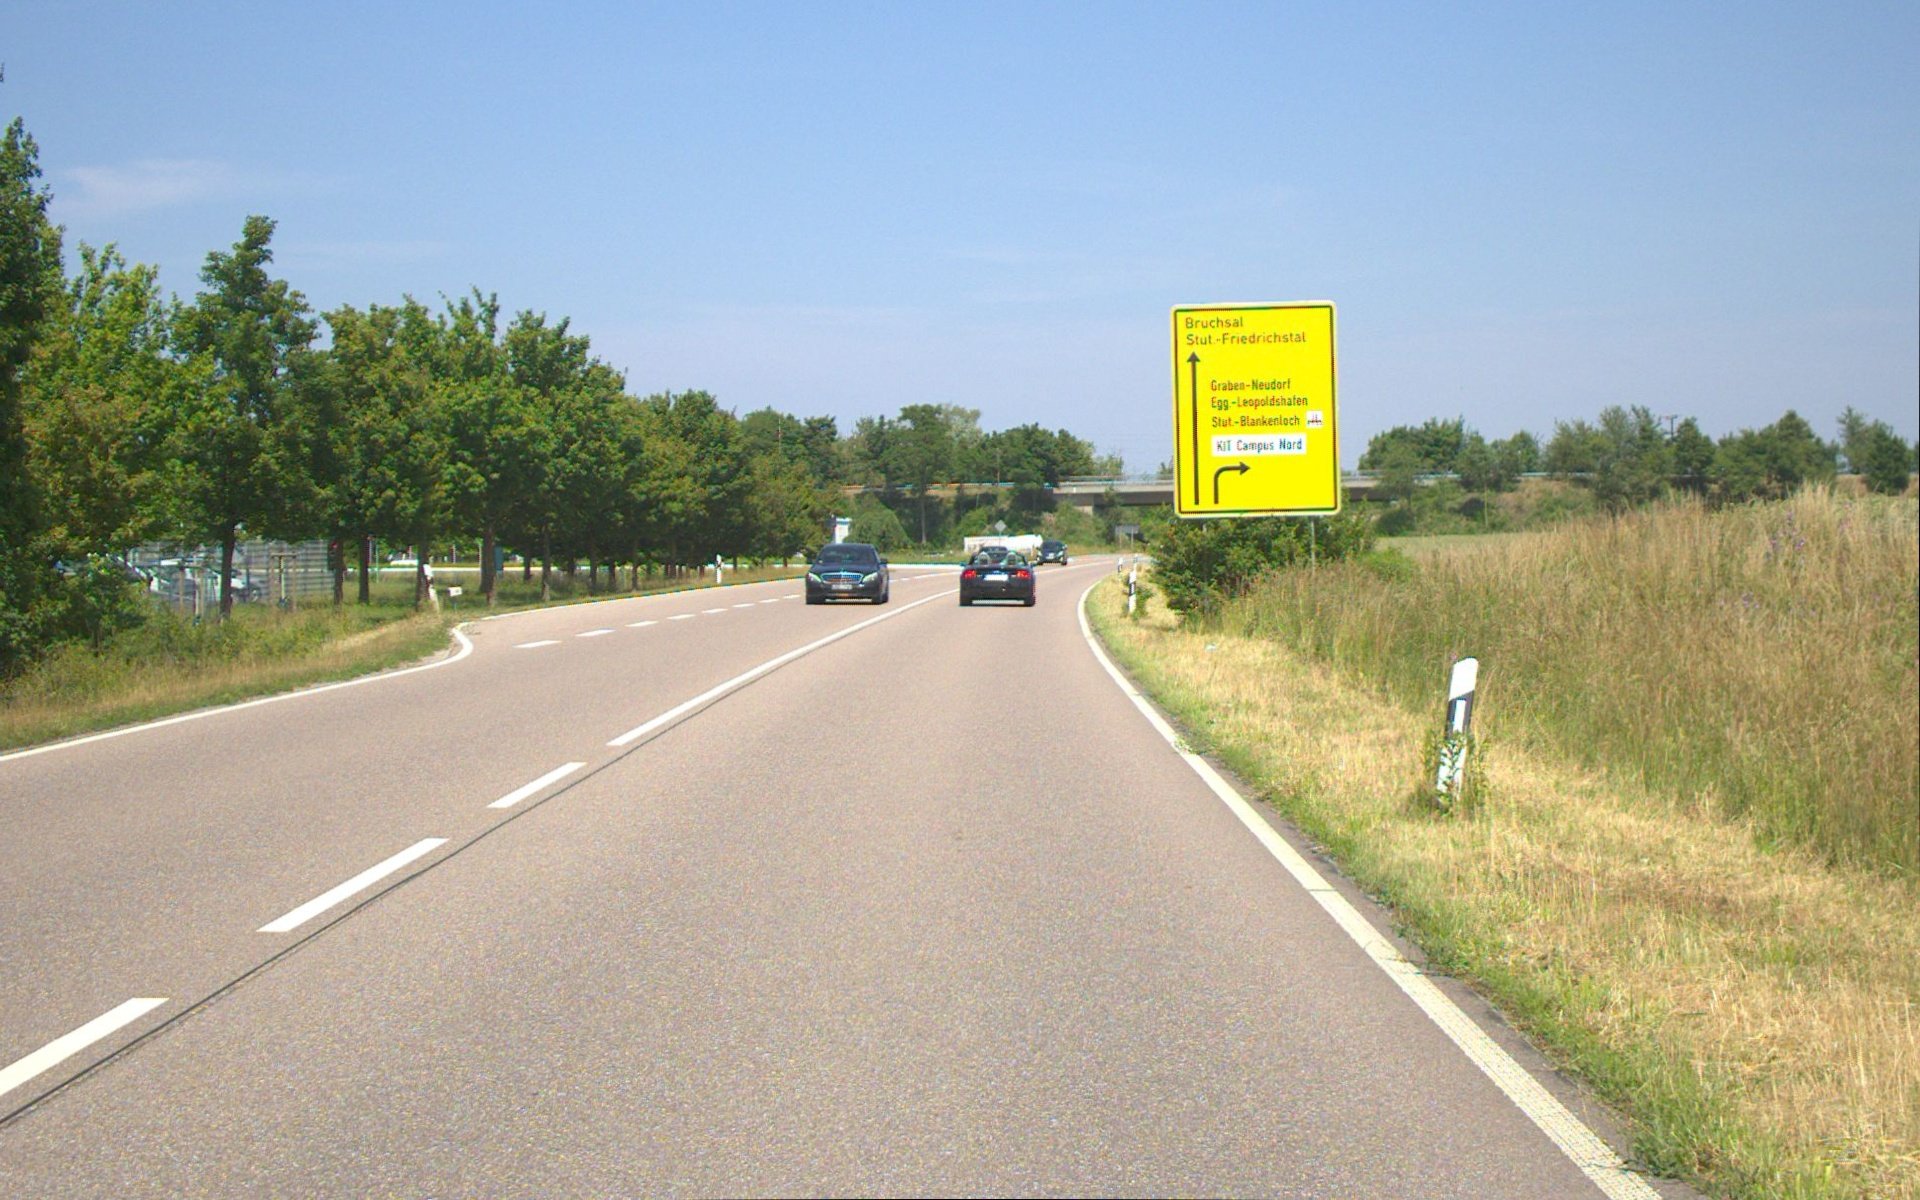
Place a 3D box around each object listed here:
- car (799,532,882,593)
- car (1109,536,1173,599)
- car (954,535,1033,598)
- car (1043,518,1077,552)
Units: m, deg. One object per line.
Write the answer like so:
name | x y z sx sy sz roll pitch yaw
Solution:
car | -2.861 -0.924 82.935 1.781 1.415 4.534 0 1 1
car | 5.989 -1.071 114.001 1.747 2.007 4.000 1 0 -2
car | 0.774 -0.813 81.421 1.814 1.436 4.000 1 1 0
car | 6.131 -3.963 210.545 1.994 2.007 4.000 1 0 2
